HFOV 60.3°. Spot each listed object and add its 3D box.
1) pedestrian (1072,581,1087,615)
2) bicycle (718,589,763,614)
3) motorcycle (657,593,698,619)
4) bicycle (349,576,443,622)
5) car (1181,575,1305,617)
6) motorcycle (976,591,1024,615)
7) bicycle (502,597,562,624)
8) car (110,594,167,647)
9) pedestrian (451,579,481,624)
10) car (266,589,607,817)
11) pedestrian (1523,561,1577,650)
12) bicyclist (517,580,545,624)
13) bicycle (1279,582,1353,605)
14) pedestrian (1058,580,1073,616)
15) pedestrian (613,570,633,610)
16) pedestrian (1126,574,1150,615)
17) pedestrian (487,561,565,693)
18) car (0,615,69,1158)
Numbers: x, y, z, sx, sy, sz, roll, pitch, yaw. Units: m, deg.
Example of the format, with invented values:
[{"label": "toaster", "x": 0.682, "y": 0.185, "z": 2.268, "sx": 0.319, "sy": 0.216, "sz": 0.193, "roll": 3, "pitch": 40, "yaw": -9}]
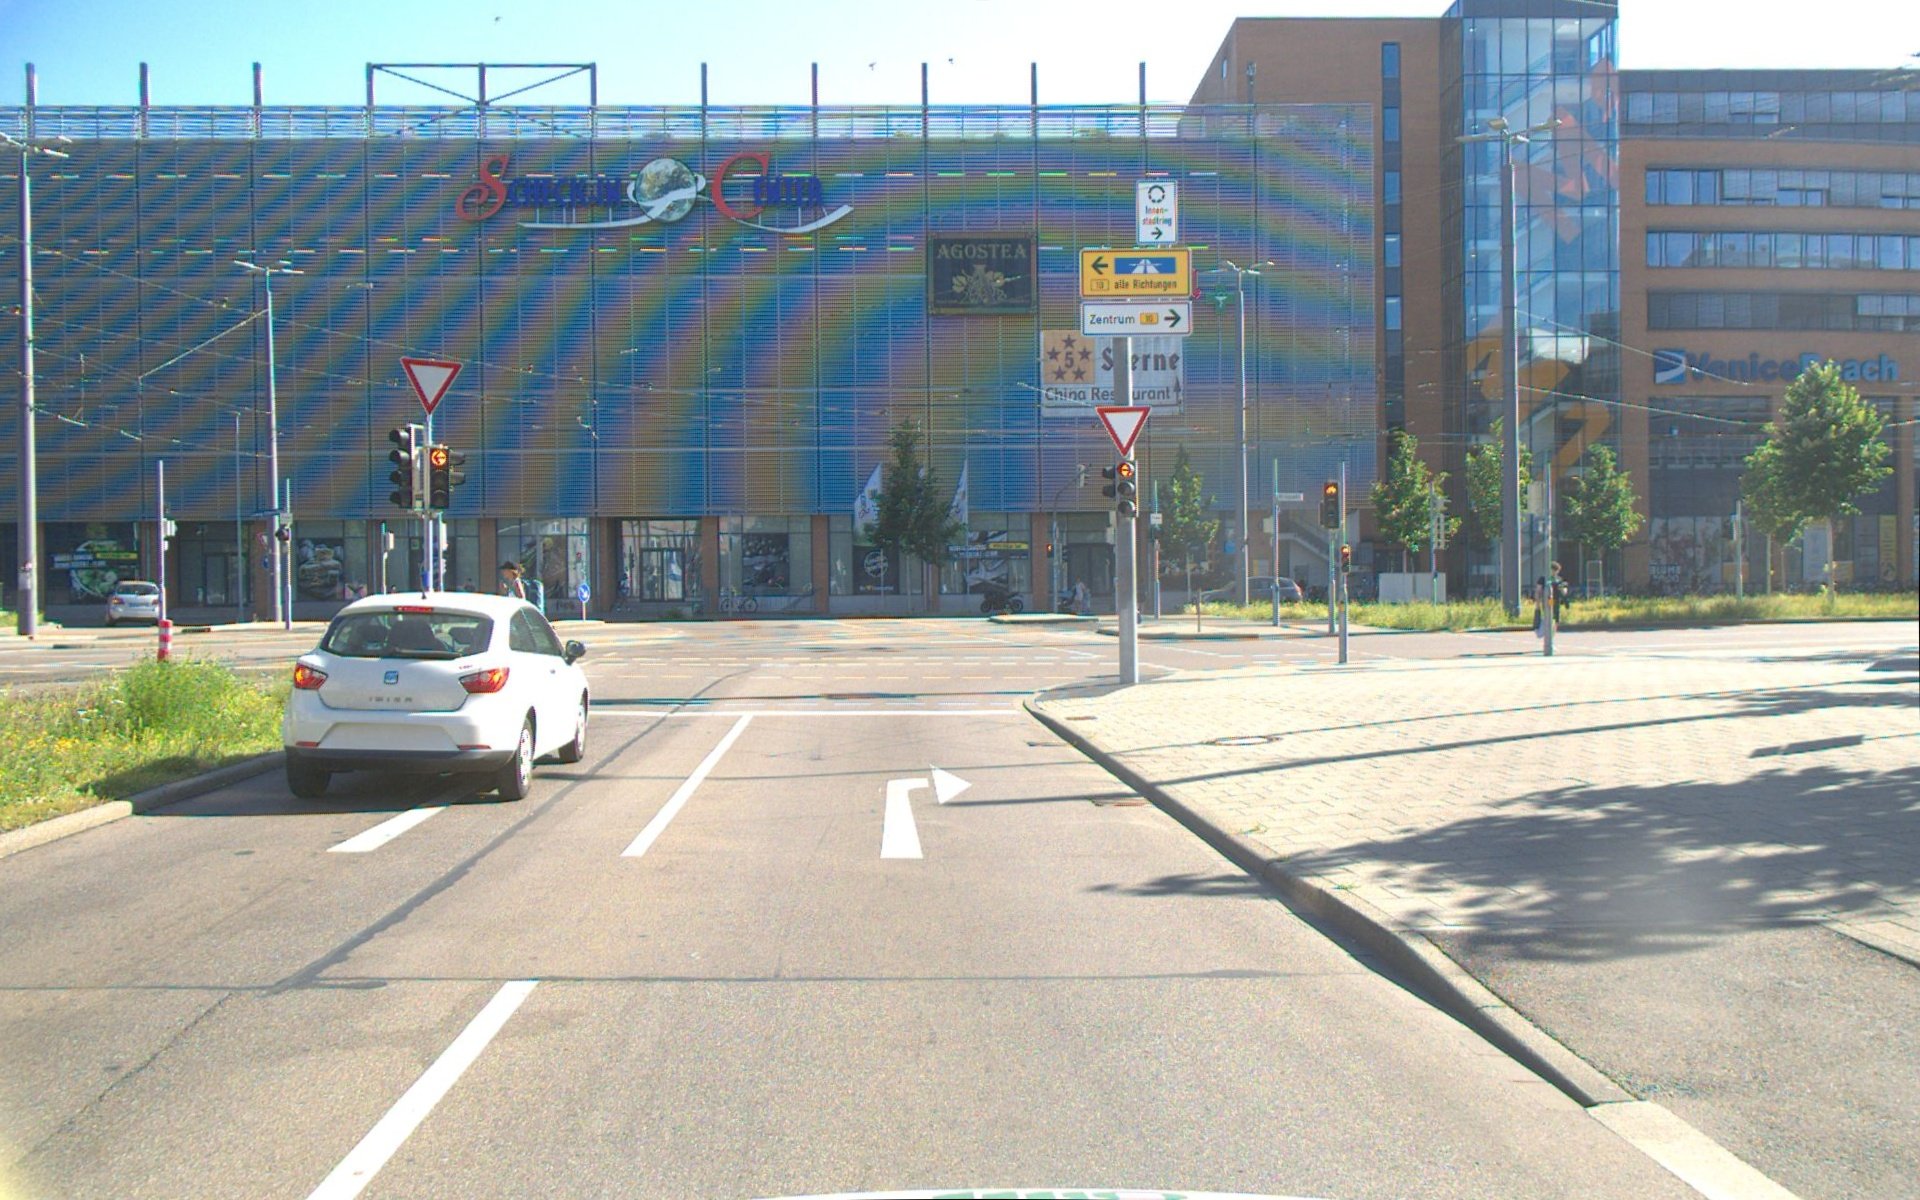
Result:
[{"label": "pedestrian", "x": 5.287, "y": -0.079, "z": 73.403, "sx": 0.577, "sy": 1.488, "sz": 0.658, "roll": -1, "pitch": 0, "yaw": -4}, {"label": "bicycle", "x": -10.071, "y": 0.065, "z": 76.033, "sx": 1.986, "sy": 1.078, "sz": 1.144, "roll": -1, "pitch": 0, "yaw": -4}, {"label": "motorcycle", "x": -12.155, "y": 0.251, "z": 71.156, "sx": 1.617, "sy": 1.078, "sz": 0.497, "roll": -1, "pitch": 0, "yaw": 6}, {"label": "bicycle", "x": -26.035, "y": -0.057, "z": 76.398, "sx": 3.907, "sy": 2.049, "sz": 1.329, "roll": 0, "pitch": 1, "yaw": -3}, {"label": "car", "x": 10.668, "y": -0.147, "z": 62.458, "sx": 4.398, "sy": 1.521, "sz": 1.494, "roll": -1, "pitch": 0, "yaw": -4}, {"label": "motorcycle", "x": 1.879, "y": 0.146, "z": 77.059, "sx": 2.159, "sy": 1.061, "sz": 1.061, "roll": 0, "pitch": 1, "yaw": -4}, {"label": "bicycle", "x": -18.088, "y": 0.440, "z": 69.948, "sx": 2.228, "sy": 1.089, "sz": 1.029, "roll": -1, "pitch": 1, "yaw": -44}, {"label": "car", "x": -29.334, "y": 0.711, "z": 59.124, "sx": 1.731, "sy": 1.825, "sz": 3.967, "roll": 1, "pitch": 0, "yaw": -26}, {"label": "pedestrian", "x": -20.903, "y": 0.053, "z": 69.984, "sx": 0.889, "sy": 1.901, "sz": 0.817, "roll": 0, "pitch": 0, "yaw": 39}, {"label": "car", "x": -3.866, "y": 0.675, "z": 12.843, "sx": 1.600, "sy": 1.448, "sz": 3.779, "roll": 2, "pitch": 0, "yaw": -4}, {"label": "pedestrian", "x": 11.773, "y": 0.105, "z": 33.020, "sx": 0.790, "sy": 1.738, "sz": 0.761, "roll": 0, "pitch": 0, "yaw": -4}, {"label": "bicyclist", "x": -18.158, "y": 0.063, "z": 69.941, "sx": 0.803, "sy": 1.834, "sz": 0.839, "roll": 0, "pitch": 0, "yaw": 45}, {"label": "bicycle", "x": 16.880, "y": -0.311, "z": 78.465, "sx": 3.290, "sy": 1.096, "sz": 1.117, "roll": 0, "pitch": 1, "yaw": 2}, {"label": "pedestrian", "x": 4.642, "y": -0.087, "z": 72.886, "sx": 0.577, "sy": 1.561, "sz": 0.658, "roll": -1, "pitch": 0, "yaw": -4}, {"label": "pedestrian", "x": -15.561, "y": -0.464, "z": 76.438, "sx": 0.831, "sy": 1.794, "sz": 0.619, "roll": -1, "pitch": 0, "yaw": -4}, {"label": "pedestrian", "x": 7.731, "y": -0.242, "z": 71.862, "sx": 0.838, "sy": 1.768, "sz": 0.752, "roll": -1, "pitch": 0, "yaw": -10}, {"label": "pedestrian", "x": -5.853, "y": 0.356, "z": 22.340, "sx": 0.868, "sy": 1.737, "sz": 0.712, "roll": -1, "pitch": 0, "yaw": -4}, {"label": "car", "x": -3.276, "y": 0.757, "z": 2.421, "sx": 1.700, "sy": 1.448, "sz": 4.464, "roll": 2, "pitch": 0, "yaw": -4}]
